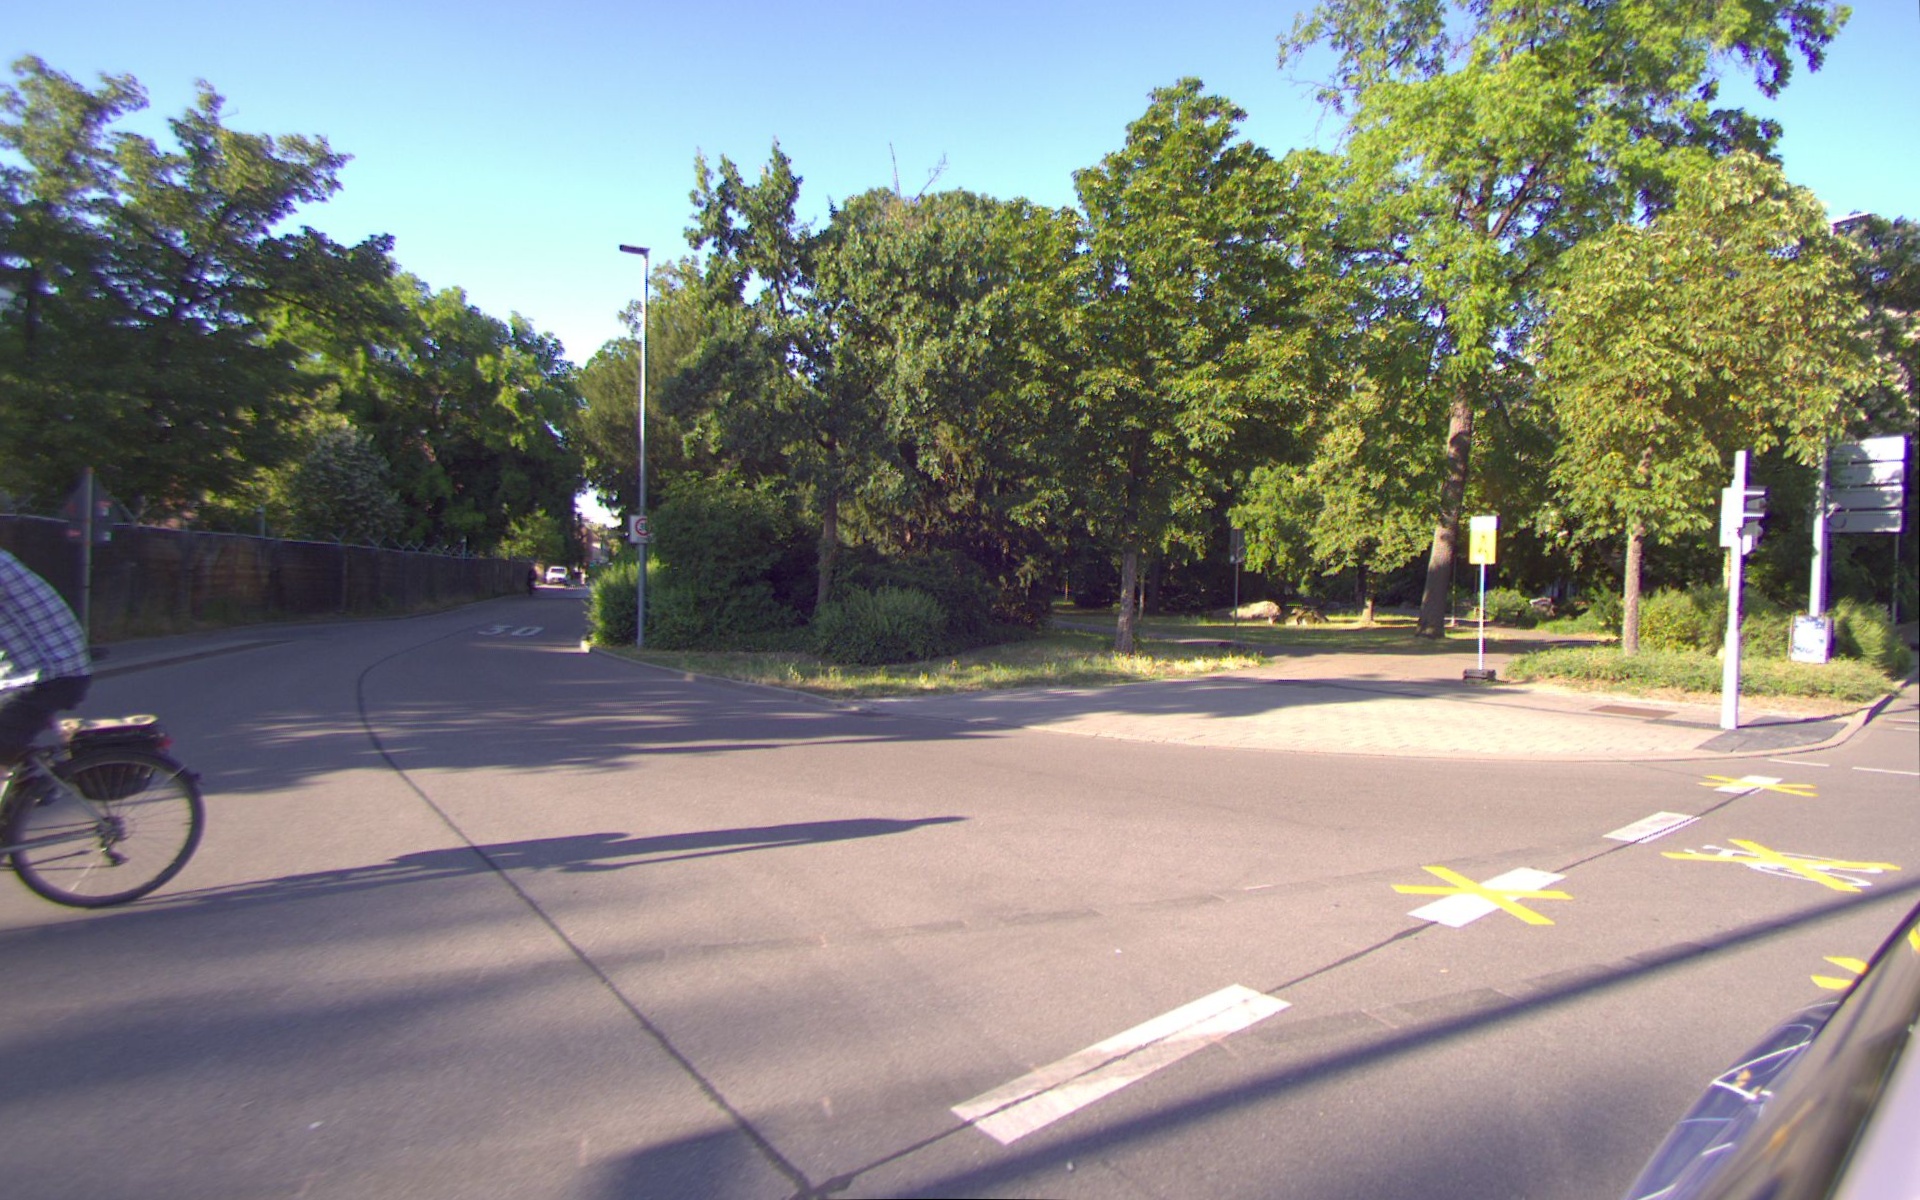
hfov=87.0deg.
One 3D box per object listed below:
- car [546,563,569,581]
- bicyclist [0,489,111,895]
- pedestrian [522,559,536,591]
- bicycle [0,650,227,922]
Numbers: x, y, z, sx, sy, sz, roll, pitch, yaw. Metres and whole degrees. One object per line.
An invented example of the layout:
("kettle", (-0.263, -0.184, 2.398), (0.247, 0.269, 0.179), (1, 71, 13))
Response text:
("car", (-41.146, -2.856, 103.433), (1.958, 1.672, 4.008), (0, 0, -19))
("bicyclist", (-4.136, 0.365, 4.208), (0.888, 1.635, 0.584), (0, 1, -44))
("pedestrian", (-28.118, -1.637, 66.028), (0.667, 2.015, 1.002), (1, 1, -18))
("bicycle", (-4.250, 0.793, 4.230), (1.879, 1.074, 0.428), (0, 1, -43))
